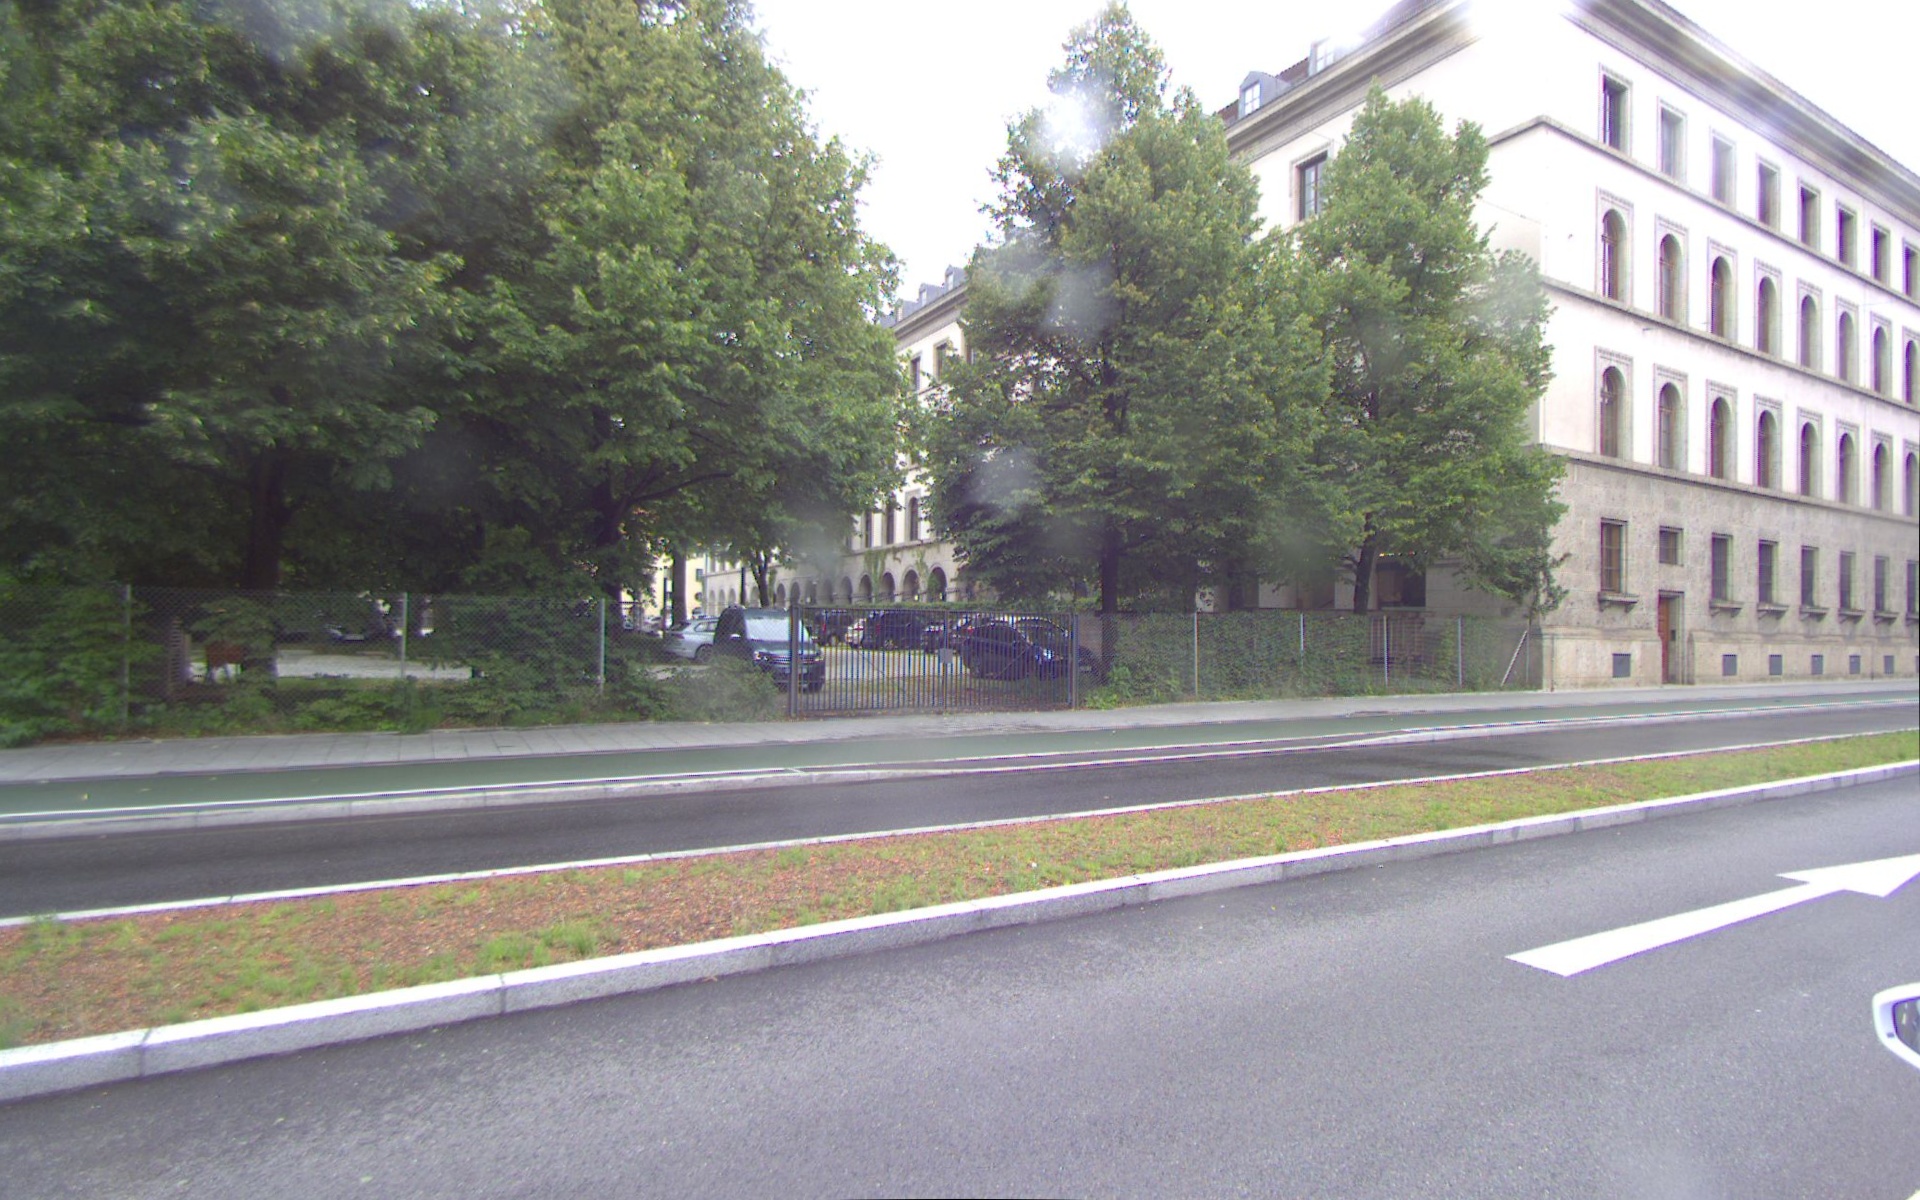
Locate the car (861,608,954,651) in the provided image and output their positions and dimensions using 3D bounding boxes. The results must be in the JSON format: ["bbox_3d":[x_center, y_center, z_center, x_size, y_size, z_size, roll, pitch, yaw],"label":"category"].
[{"bbox_3d":[-2.457,1.404,47.203,3.949,1.954,1.838,2,-1,-27],"label":"car"}]

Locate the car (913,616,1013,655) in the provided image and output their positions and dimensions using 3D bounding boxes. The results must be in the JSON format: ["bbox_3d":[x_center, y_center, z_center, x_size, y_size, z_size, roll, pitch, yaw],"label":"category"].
[{"bbox_3d":[0.150,1.515,42.979,3.954,1.564,1.761,2,-1,-31],"label":"car"}]

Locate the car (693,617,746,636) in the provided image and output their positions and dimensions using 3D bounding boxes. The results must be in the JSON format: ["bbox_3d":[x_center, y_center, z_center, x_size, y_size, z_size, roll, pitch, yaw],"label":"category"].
[{"bbox_3d":[-20.020,2.225,83.648,3.954,1.564,1.761,2,-1,-31],"label":"car"}]

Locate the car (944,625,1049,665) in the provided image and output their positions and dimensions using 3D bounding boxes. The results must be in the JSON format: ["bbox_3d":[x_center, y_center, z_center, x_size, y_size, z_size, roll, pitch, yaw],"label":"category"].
[{"bbox_3d":[1.514,1.817,40.797,3.954,1.564,1.761,2,-1,-31],"label":"car"}]

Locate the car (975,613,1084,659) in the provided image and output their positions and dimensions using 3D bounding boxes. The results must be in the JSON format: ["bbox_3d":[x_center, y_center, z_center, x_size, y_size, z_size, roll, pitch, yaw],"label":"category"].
[{"bbox_3d":[2.679,1.388,38.642,3.954,1.661,1.657,2,-1,-31],"label":"car"}]

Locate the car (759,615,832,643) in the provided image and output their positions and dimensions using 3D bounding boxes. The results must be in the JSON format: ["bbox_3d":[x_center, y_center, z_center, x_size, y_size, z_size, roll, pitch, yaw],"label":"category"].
[{"bbox_3d":[-9.803,1.735,59.841,3.954,1.564,1.761,2,-1,-31],"label":"car"}]

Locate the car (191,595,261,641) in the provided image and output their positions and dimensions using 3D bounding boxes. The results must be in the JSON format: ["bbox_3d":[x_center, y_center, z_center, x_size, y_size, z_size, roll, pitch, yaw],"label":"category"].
[{"bbox_3d":[-29.415,0.750,40.356,1.979,1.742,3.964,2,-2,-33],"label":"car"}]

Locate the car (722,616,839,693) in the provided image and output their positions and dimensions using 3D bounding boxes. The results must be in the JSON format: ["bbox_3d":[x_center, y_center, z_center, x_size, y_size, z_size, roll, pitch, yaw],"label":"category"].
[{"bbox_3d":[-4.232,1.193,23.166,1.779,1.609,4.137,1,-2,-23],"label":"car"}]

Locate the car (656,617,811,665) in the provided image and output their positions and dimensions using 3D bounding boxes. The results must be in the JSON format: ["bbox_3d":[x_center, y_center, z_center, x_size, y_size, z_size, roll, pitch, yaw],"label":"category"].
[{"bbox_3d":[-7.377,1.330,32.833,4.579,1.460,1.984,2,-2,-31],"label":"car"}]

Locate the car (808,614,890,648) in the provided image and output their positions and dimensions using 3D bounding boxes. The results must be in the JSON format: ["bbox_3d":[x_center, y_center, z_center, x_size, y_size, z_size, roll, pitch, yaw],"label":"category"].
[{"bbox_3d":[-5.929,1.675,53.688,3.954,1.755,1.761,2,-1,-31],"label":"car"}]

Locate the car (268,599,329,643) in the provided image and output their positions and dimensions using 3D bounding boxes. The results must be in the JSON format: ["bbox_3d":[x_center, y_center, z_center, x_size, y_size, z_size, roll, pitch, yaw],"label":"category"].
[{"bbox_3d":[-27.562,0.871,41.950,1.978,1.742,3.965,2,-2,-32],"label":"car"}]

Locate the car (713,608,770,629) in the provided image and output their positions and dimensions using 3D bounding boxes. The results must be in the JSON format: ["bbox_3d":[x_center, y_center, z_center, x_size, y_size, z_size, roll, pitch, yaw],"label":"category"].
[{"bbox_3d":[-16.859,1.413,77.443,3.954,1.564,1.761,2,-1,-31],"label":"car"}]

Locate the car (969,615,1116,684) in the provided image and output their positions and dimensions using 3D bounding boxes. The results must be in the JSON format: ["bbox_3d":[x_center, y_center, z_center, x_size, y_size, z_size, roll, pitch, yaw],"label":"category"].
[{"bbox_3d":[2.077,1.261,26.523,1.783,1.671,4.243,1,-2,-30],"label":"car"}]

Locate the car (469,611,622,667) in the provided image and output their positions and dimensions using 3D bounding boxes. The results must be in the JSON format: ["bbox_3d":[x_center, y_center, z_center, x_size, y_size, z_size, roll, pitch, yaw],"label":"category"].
[{"bbox_3d":[-12.216,1.151,29.669,3.956,1.564,1.761,2,-1,-32],"label":"car"}]

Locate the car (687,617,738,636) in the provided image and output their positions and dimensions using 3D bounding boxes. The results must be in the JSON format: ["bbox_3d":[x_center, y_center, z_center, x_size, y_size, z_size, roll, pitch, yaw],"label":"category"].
[{"bbox_3d":[-21.140,2.235,85.850,3.954,1.564,1.761,2,-1,-31],"label":"car"}]

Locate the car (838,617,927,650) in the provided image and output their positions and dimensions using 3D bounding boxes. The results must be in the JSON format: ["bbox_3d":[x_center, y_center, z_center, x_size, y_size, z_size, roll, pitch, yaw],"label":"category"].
[{"bbox_3d":[-3.781,1.645,49.194,3.954,1.564,1.761,2,-1,-31],"label":"car"}]

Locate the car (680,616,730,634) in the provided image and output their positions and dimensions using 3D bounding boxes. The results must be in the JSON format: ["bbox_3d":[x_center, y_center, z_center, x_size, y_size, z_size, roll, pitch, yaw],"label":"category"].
[{"bbox_3d":[-22.390,2.196,88.324,3.954,1.564,1.761,2,-1,-31],"label":"car"}]

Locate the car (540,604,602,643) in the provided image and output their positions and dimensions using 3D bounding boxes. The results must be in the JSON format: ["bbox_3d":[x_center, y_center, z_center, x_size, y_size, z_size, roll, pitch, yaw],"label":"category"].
[{"bbox_3d":[-18.373,1.113,47.321,1.978,1.742,3.965,2,-2,-32],"label":"car"}]

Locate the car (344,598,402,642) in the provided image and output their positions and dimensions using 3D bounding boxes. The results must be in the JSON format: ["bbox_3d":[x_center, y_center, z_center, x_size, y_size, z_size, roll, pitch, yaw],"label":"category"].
[{"bbox_3d":[-24.971,0.849,42.703,1.978,1.742,3.965,2,-2,-32],"label":"car"}]
